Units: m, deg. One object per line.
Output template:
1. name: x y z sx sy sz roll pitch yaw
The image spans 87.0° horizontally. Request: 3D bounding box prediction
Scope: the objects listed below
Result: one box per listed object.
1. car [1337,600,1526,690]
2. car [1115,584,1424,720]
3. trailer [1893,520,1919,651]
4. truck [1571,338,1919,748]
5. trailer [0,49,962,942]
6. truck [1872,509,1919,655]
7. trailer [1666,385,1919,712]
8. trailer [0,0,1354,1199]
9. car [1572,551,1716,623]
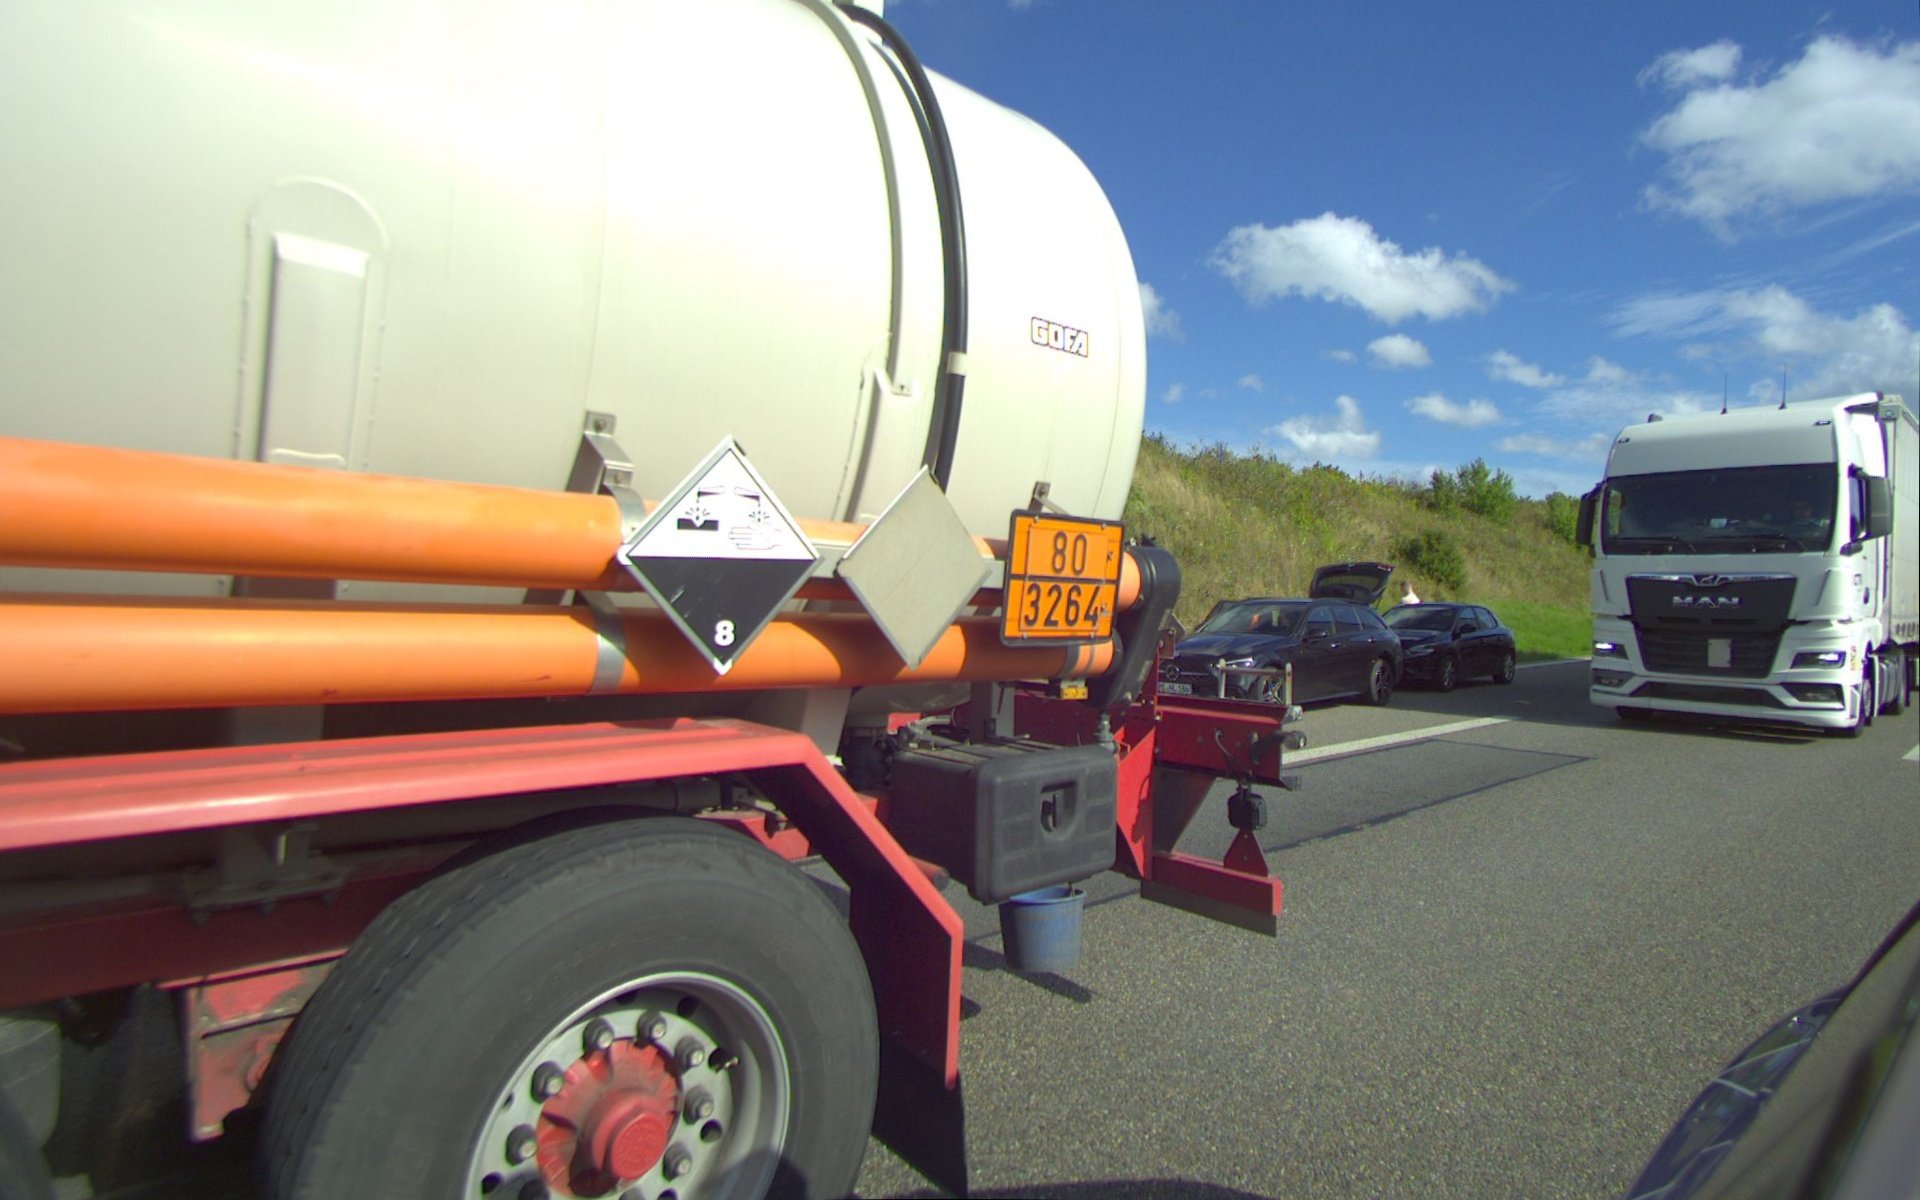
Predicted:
1. car: 8.123 0.689 17.302 3.674 1.369 1.635 0 0 -42
2. car: 4.323 0.582 13.717 4.656 1.532 1.903 0 0 -42
3. trailer: 33.986 -0.479 33.885 13.162 3.917 2.665 0 0 -41
4. truck: 10.612 -0.614 13.255 6.251 4.110 2.713 0 1 -41
5. trailer: -4.746 -0.442 5.092 10.441 3.643 2.546 0 1 -41
6. truck: 28.559 -0.515 29.127 6.874 3.918 2.651 0 0 -41
7. trailer: 16.037 -0.678 18.018 12.718 4.133 2.707 0 1 -41
8. trailer: -3.531 -0.402 0.670 10.441 3.700 2.545 0 0 -41
9. car: 14.358 -0.251 21.177 3.674 1.369 1.662 0 0 -42
